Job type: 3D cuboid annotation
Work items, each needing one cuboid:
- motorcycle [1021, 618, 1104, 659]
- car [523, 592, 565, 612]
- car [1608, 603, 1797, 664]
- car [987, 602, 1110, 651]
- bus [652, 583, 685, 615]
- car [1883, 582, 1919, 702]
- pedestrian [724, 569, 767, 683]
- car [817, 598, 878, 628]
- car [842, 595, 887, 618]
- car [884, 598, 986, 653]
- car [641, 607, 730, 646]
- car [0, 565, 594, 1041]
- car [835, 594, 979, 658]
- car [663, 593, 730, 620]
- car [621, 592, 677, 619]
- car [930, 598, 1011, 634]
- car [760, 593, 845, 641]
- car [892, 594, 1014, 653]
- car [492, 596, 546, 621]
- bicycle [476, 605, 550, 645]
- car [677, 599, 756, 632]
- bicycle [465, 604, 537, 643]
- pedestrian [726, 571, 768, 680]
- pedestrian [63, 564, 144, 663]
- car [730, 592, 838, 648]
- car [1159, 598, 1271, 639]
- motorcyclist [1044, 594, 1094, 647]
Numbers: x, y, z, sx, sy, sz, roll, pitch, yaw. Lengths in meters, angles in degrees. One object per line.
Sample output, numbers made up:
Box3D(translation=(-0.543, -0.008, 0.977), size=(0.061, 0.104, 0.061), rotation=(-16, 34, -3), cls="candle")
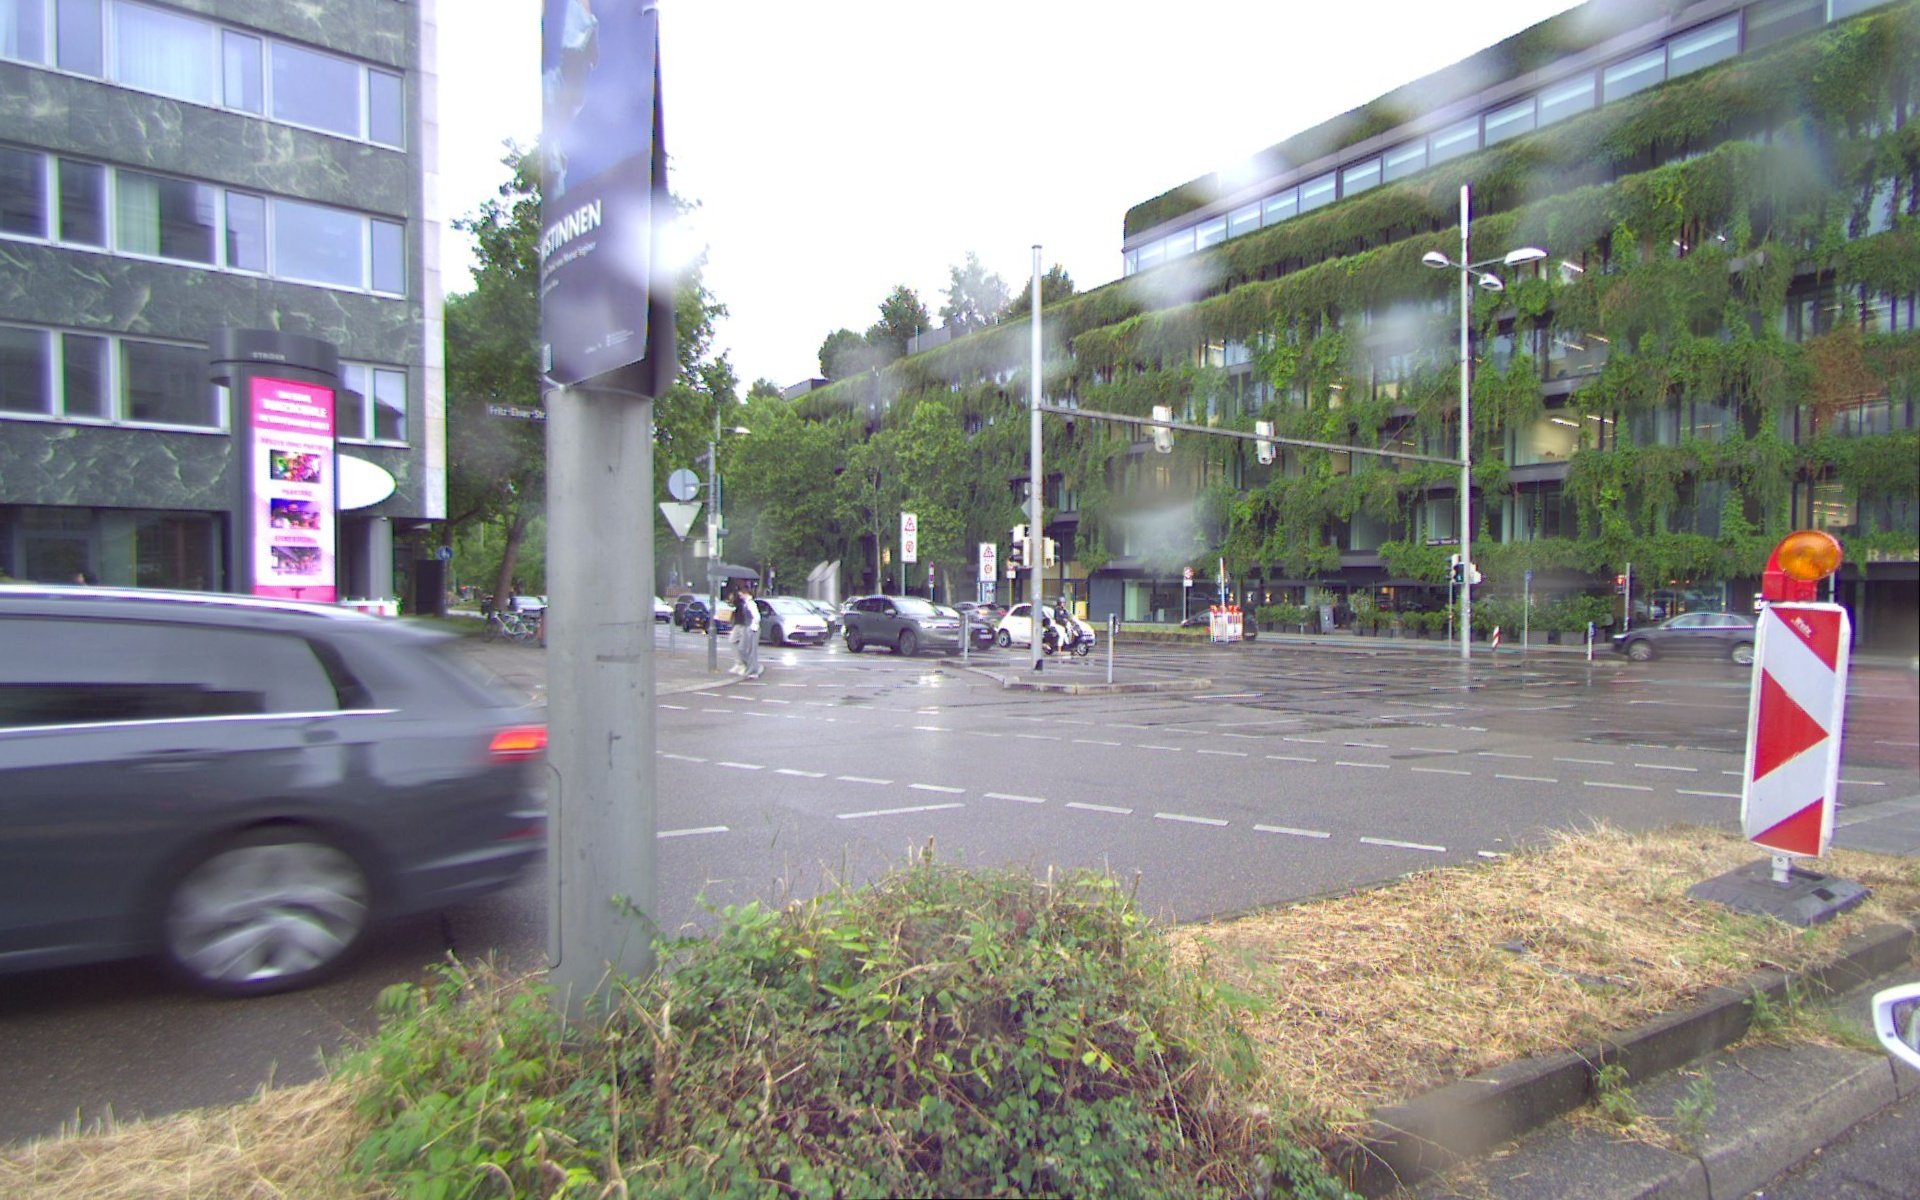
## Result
Box3D(translation=(2.963, 1.103, 29.137), size=(2.331, 1.068, 0.830), rotation=(2, 0, 41), cls="motorcycle")
Box3D(translation=(-32.295, 0.154, 77.966), size=(1.919, 1.544, 4.054), rotation=(1, 0, -40), cls="car")
Box3D(translation=(22.697, 0.975, 30.831), size=(1.985, 1.660, 4.364), rotation=(2, 0, -42), cls="car")
Box3D(translation=(2.885, 0.855, 33.462), size=(1.981, 1.495, 3.958), rotation=(1, 0, -37), cls="car")
Box3D(translation=(-32.010, -0.151, 110.229), size=(1.783, 3.385, 5.922), rotation=(2, 0, -34), cls="bus")
Box3D(translation=(18.099, 0.753, 15.864), size=(4.864, 1.953, 2.001), rotation=(2, 0, 9), cls="car")
Box3D(translation=(-3.937, 0.476, 18.435), size=(0.715, 2.040, 0.598), rotation=(1, 0, -10), cls="pedestrian")
Box3D(translation=(-6.612, 0.729, 58.827), size=(1.834, 1.692, 3.958), rotation=(1, 0, -37), cls="car")
Box3D(translation=(-7.356, 0.490, 77.243), size=(1.783, 1.588, 3.962), rotation=(2, 0, -34), cls="car")
Box3D(translation=(-0.999, 0.912, 37.760), size=(1.978, 1.923, 4.139), rotation=(1, 0, -33), cls="car")
Box3D(translation=(-10.889, 1.003, 39.621), size=(1.982, 1.389, 4.131), rotation=(1, 0, -37), cls="car")
Box3D(translation=(-3.764, 0.628, 3.780), size=(4.242, 1.530, 1.679), rotation=(1, 1, -31), cls="car")
Box3D(translation=(-1.613, 0.700, 29.178), size=(1.984, 1.709, 4.314), rotation=(1, 0, -41), cls="car")
Box3D(translation=(-13.918, 0.337, 52.921), size=(1.982, 1.389, 4.131), rotation=(1, 0, -37), cls="car")
Box3D(translation=(-18.672, 0.332, 60.205), size=(1.918, 1.544, 4.057), rotation=(1, 0, -38), cls="car")
Box3D(translation=(0.503, 0.809, 51.321), size=(1.840, 1.692, 3.946), rotation=(2, 0, -45), cls="car")
Box3D(translation=(-6.280, 0.640, 39.666), size=(1.841, 1.791, 4.139), rotation=(1, 0, -32), cls="car")
Box3D(translation=(-0.274, 0.708, 32.399), size=(1.981, 1.773, 3.958), rotation=(1, 0, -37), cls="car")
Box3D(translation=(-25.860, 0.479, 58.875), size=(1.982, 1.389, 4.131), rotation=(1, 0, -37), cls="car")
Box3D(translation=(-12.286, 0.678, 27.630), size=(1.765, 1.066, 0.581), rotation=(1, 0, -35), cls="bicycle")
Box3D(translation=(-10.952, 0.693, 45.010), size=(1.982, 1.389, 4.131), rotation=(1, 0, -37), cls="car")
Box3D(translation=(-12.964, 0.663, 28.408), size=(1.765, 1.066, 0.581), rotation=(1, 0, -35), cls="bicycle")
Box3D(translation=(-4.035, 0.480, 19.063), size=(0.715, 2.040, 0.598), rotation=(1, 0, -10), cls="pedestrian")
Box3D(translation=(-15.870, 0.240, 18.648), size=(1.022, 1.757, 1.195), rotation=(2, 0, -37), cls="pedestrian")
Box3D(translation=(-6.005, 0.632, 34.032), size=(1.982, 1.773, 3.956), rotation=(1, 0, -38), cls="car")
Box3D(translation=(11.145, 0.784, 44.108), size=(1.985, 1.660, 4.364), rotation=(2, 0, -41), cls="car")
Box3D(translation=(3.146, 0.580, 28.989), size=(1.153, 1.492, 0.832), rotation=(2, 0, 40), cls="motorcyclist")
